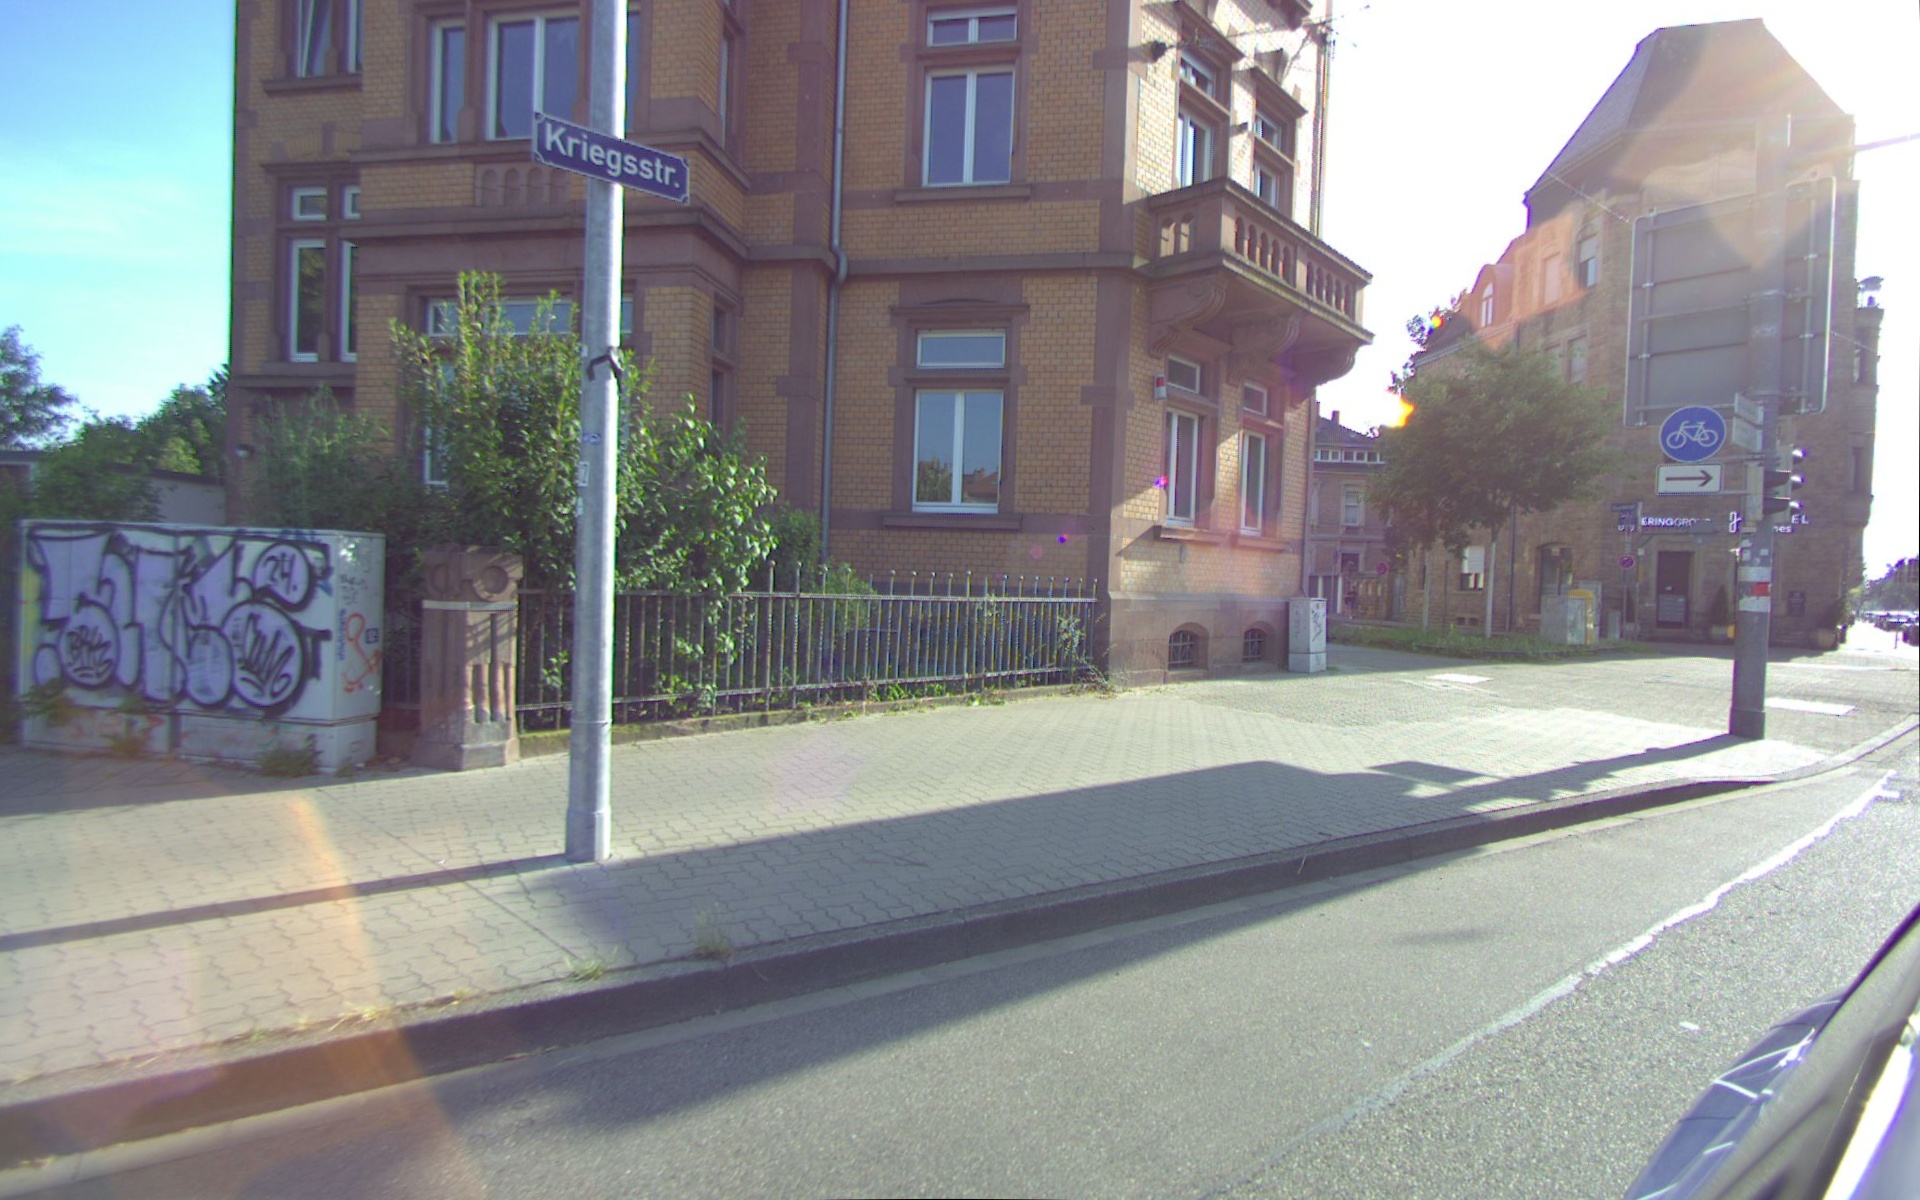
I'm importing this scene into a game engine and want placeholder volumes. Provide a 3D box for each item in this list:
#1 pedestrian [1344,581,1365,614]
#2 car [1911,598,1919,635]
[{"bbox_3d":[20.309,-0.118,52.088,0.749,1.696,0.783,1,0,1],"label":"pedestrian"},{"bbox_3d":[49.086,0.845,50.600,1.992,1.805,3.940,3,2,41],"label":"car"}]
